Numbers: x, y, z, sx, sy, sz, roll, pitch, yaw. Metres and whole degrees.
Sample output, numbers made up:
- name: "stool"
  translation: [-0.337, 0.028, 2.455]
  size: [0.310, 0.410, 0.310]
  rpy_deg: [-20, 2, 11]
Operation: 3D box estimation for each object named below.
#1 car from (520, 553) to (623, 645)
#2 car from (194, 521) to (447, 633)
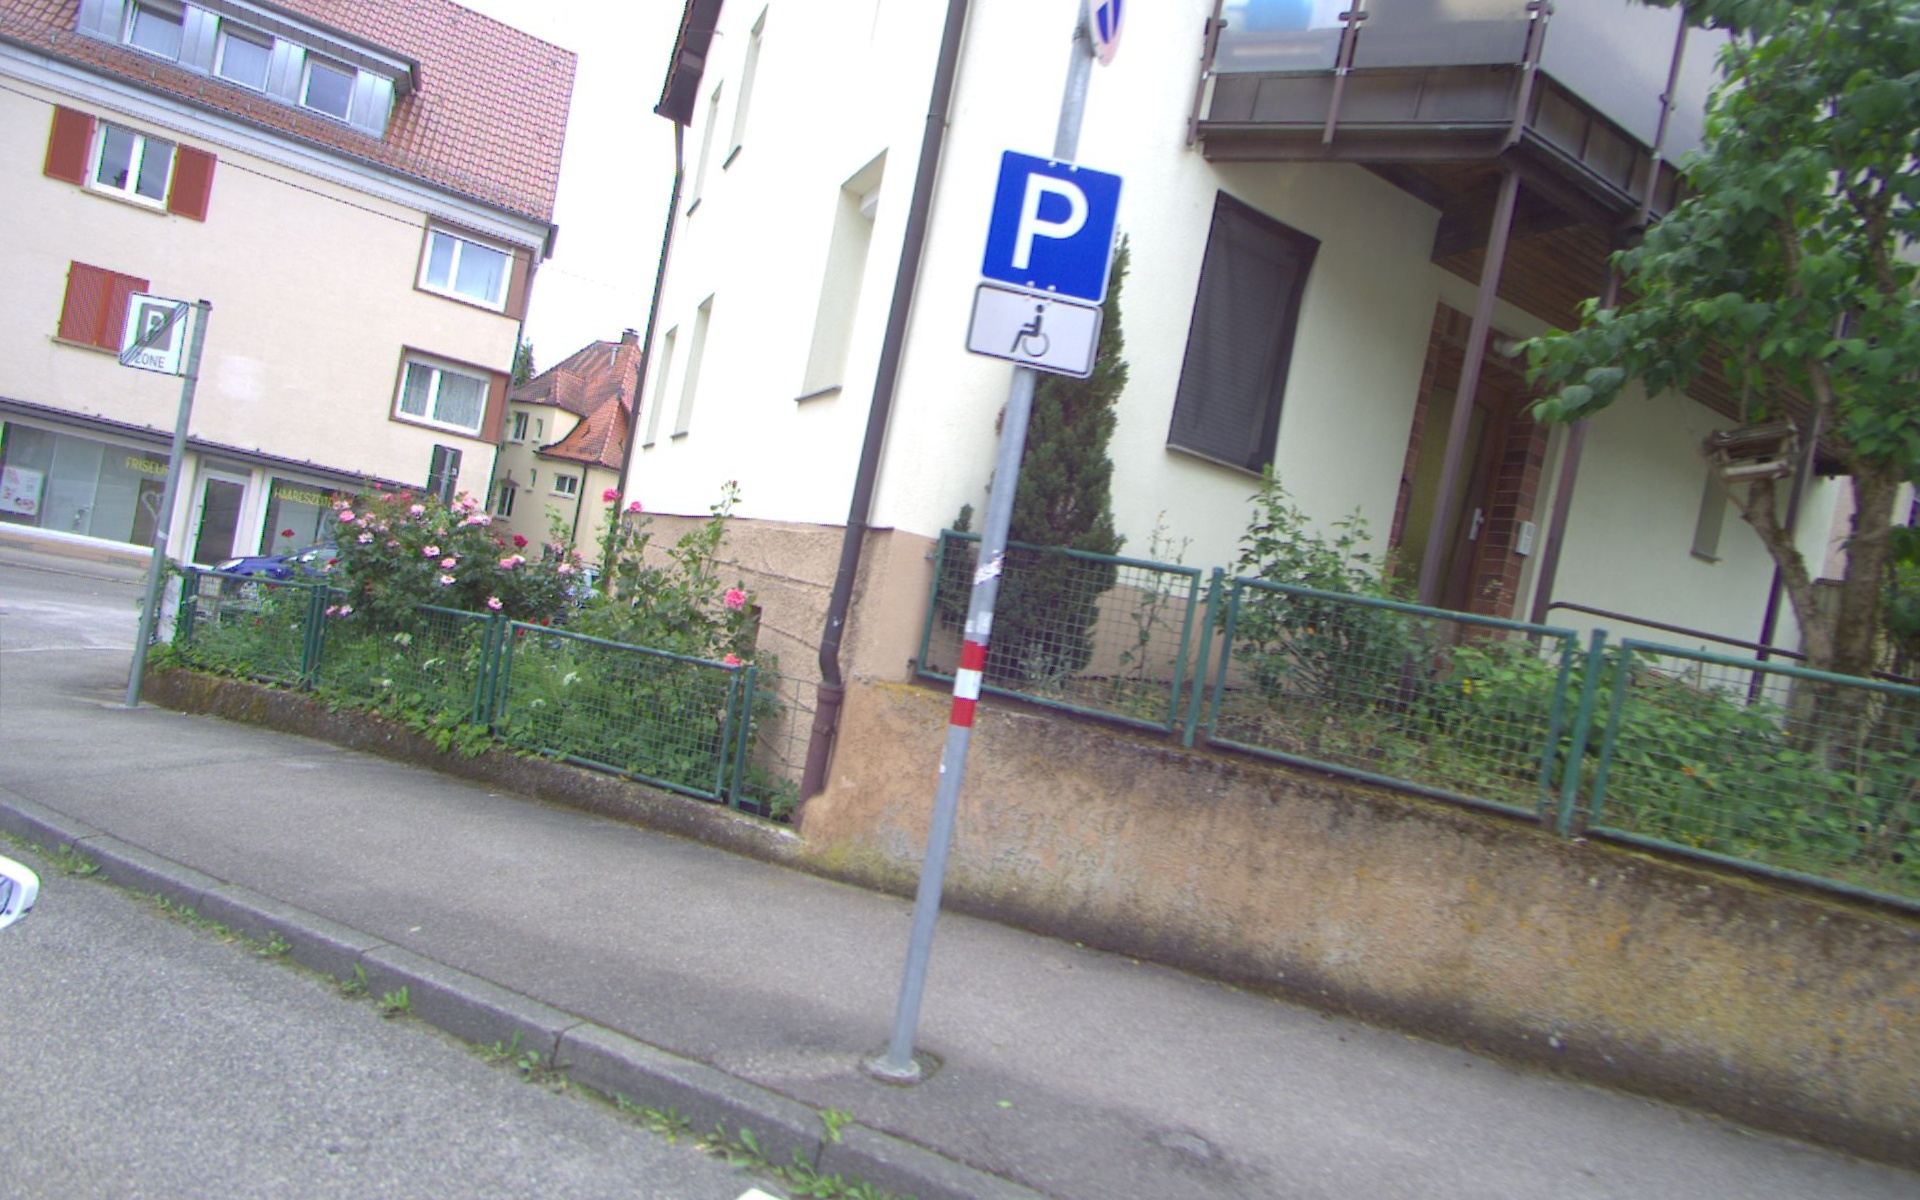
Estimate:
- name: "car"
  translation: [-10.245, -0.047, 26.287]
  size: [1.931, 1.886, 4.874]
  rpy_deg: [10, -3, -25]
- name: "car"
  translation: [-12.419, -0.411, 19.869]
  size: [3.877, 1.465, 1.687]
  rpy_deg: [11, -3, -26]
